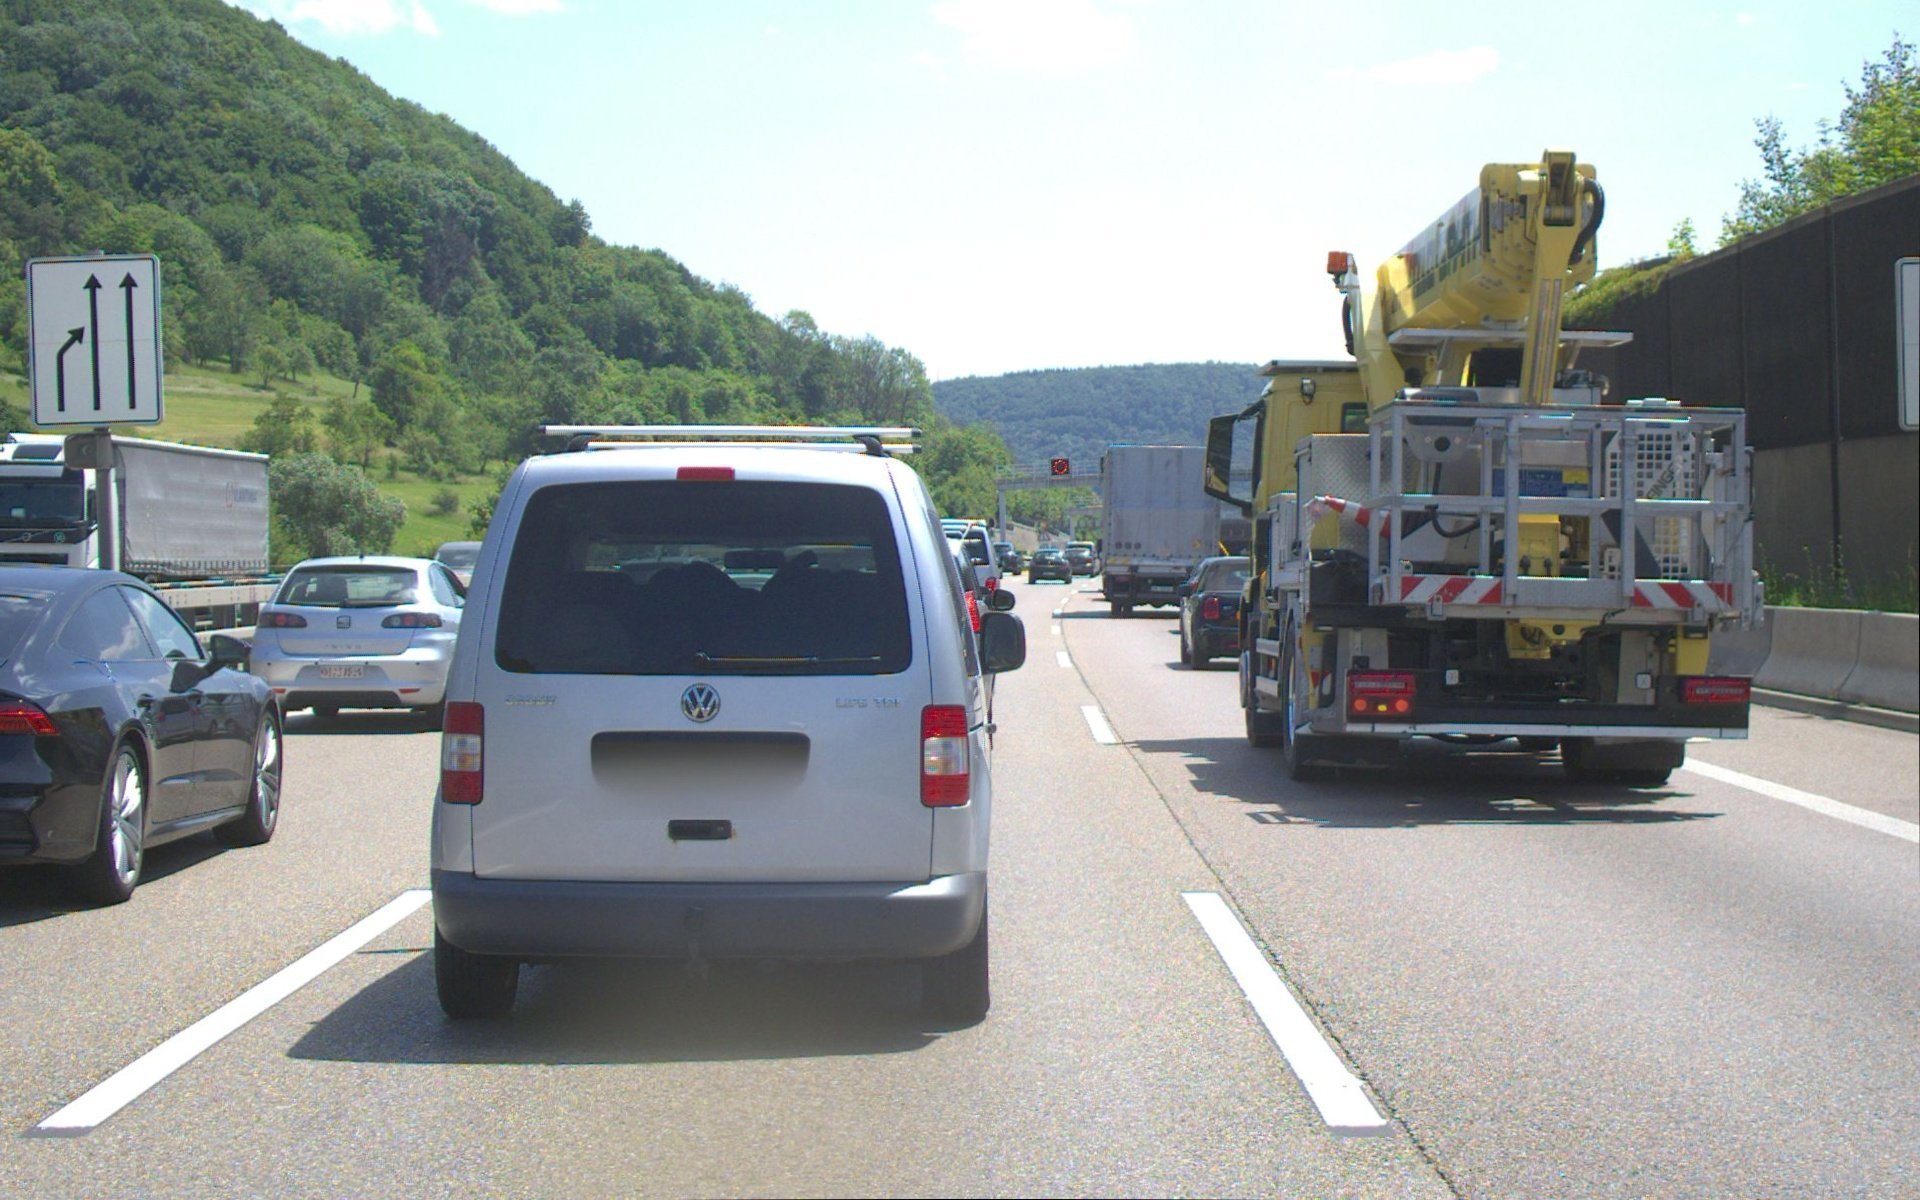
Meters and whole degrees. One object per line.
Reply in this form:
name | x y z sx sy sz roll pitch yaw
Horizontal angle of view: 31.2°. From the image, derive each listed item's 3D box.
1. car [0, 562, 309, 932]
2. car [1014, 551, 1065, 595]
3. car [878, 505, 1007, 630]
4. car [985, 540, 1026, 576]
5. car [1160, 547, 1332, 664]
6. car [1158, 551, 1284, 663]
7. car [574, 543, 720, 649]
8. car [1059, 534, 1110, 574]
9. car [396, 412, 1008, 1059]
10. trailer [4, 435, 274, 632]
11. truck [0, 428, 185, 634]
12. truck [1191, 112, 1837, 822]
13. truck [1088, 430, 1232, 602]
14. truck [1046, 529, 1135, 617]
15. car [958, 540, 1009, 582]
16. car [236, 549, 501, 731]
car | -4.319 0.533 15.568 1.800 1.385 4.969 0 1 0
car | 3.209 -1.089 139.144 1.993 1.743 4.000 1 0 1
car | -0.320 -0.548 56.375 1.993 1.969 4.000 0 1 -2
car | 2.324 -2.174 177.057 1.993 1.799 4.000 1 0 -1
car | 3.672 0.040 44.669 1.786 1.453 3.771 0 1 -2
car | 4.819 0.105 63.948 1.993 2.007 4.000 0 1 -1
car | -4.585 -0.085 50.867 1.924 1.494 4.000 1 1 -2
car | 5.883 -2.180 163.177 2.114 1.821 4.000 1 0 -2
car | -0.812 0.358 11.914 1.756 1.861 4.000 0 1 -2
trailer | -18.981 -1.477 80.571 2.854 4.177 13.615 1 0 1
truck | -19.075 -1.446 74.509 2.798 4.217 7.231 1 0 1
truck | 3.371 -0.809 23.435 2.703 3.929 8.723 0 1 -2
truck | 4.615 -1.909 80.971 2.940 3.810 8.236 1 0 1
truck | 3.921 -0.827 101.991 2.390 2.532 5.938 0 1 5
car | 1.050 -1.746 155.039 2.114 1.821 4.000 1 0 -2
car | -4.953 0.287 29.232 1.695 1.440 3.862 0 1 -2
